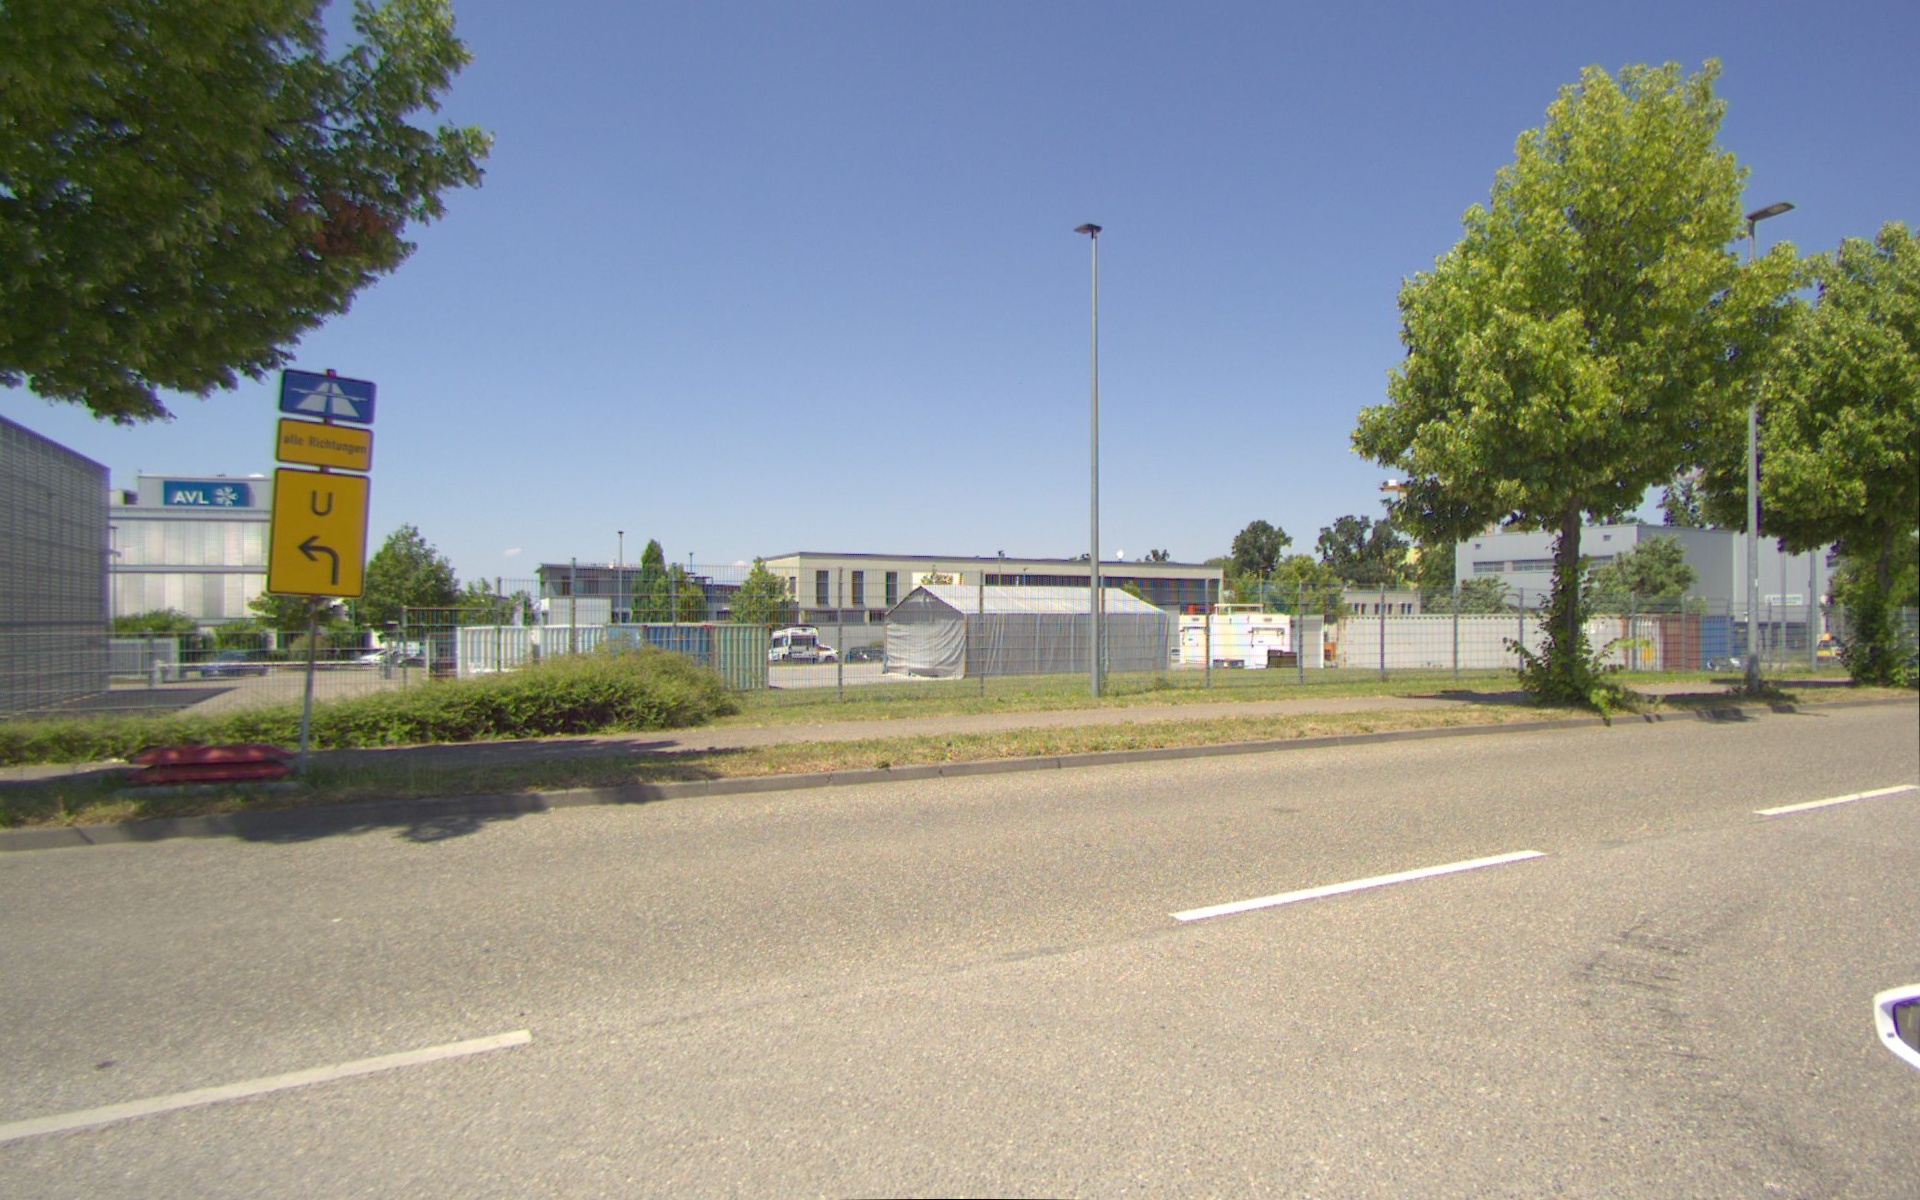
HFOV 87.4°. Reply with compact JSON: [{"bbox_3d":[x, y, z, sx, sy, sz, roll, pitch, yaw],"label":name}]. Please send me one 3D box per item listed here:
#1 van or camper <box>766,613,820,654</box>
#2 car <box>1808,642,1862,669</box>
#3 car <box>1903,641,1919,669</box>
[{"bbox_3d":[-10.626,2.154,63.713,1.976,2.374,4.267,-3,-1,-29],"label":"van or camper"},{"bbox_3d":[61.219,3.864,70.272,3.961,1.572,1.980,-3,-1,-36],"label":"car"},{"bbox_3d":[64.081,3.622,66.253,3.961,1.572,1.980,-3,-1,-36],"label":"car"}]
